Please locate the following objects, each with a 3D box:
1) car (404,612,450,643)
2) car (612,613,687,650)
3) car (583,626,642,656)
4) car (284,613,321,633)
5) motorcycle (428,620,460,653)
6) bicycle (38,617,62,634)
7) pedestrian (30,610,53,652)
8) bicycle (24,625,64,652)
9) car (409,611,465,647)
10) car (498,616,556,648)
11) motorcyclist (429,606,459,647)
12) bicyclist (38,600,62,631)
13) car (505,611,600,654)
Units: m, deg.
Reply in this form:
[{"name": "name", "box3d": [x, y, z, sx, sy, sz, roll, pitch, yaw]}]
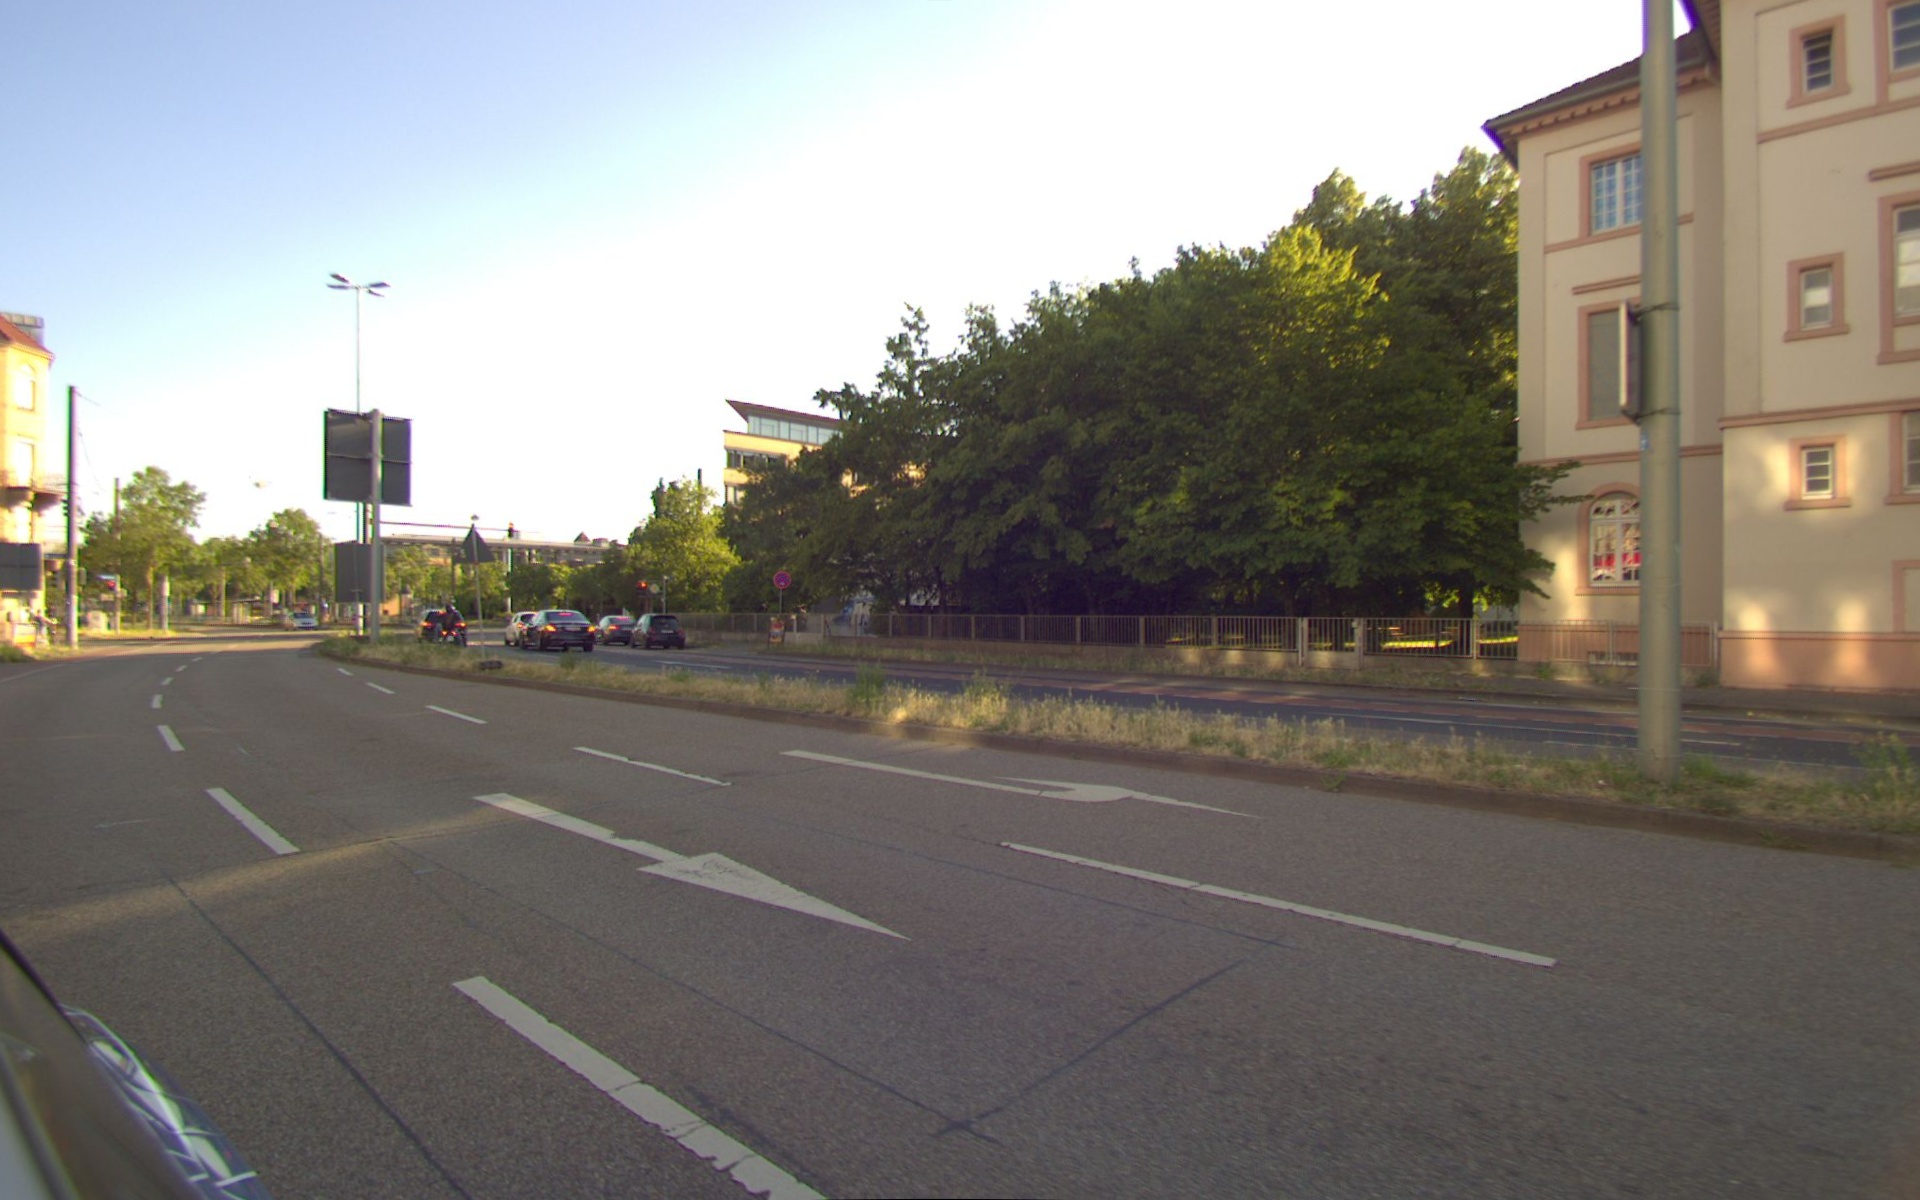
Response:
[{"name": "car", "box3d": [-24.131, 1.227, 45.769, 1.694, 1.306, 4.262, 1, -1, -29]}, {"name": "car", "box3d": [-13.012, 1.272, 42.258, 1.829, 1.475, 4.010, 0, -1, -35]}, {"name": "car", "box3d": [-16.275, 1.871, 47.330, 1.695, 1.306, 3.905, 1, -1, -33]}, {"name": "car", "box3d": [-54.386, 1.902, 83.701, 1.969, 1.586, 4.005, 1, -1, -42]}, {"name": "motorcycle", "box3d": [-18.245, 1.270, 35.752, 0.847, 1.116, 2.477, 1, -1, -31]}, {"name": "bicycle", "box3d": [-56.487, 1.598, 62.841, 1.055, 1.032, 2.979, 1, -1, -41]}, {"name": "pedestrian", "box3d": [-36.753, 1.231, 40.494, 0.481, 1.644, 0.527, 0, -1, -12]}, {"name": "bicycle", "box3d": [-36.669, 1.542, 40.526, 0.393, 1.037, 1.676, 0, -1, -12]}, {"name": "car", "box3d": [-20.516, 1.100, 39.598, 1.695, 1.306, 4.390, 1, -1, -31]}, {"name": "car", "box3d": [-19.002, 1.373, 44.285, 1.695, 1.329, 3.905, 1, -1, -33]}, {"name": "motorcyclist", "box3d": [-18.172, 0.915, 35.637, 0.840, 1.409, 1.065, 1, -1, -31]}, {"name": "bicyclist", "box3d": [-56.465, 0.969, 62.830, 1.055, 1.856, 1.305, 1, -1, -41]}, {"name": "car", "box3d": [-15.181, 1.165, 37.539, 1.967, 1.507, 5.304, 1, -1, -37]}]
